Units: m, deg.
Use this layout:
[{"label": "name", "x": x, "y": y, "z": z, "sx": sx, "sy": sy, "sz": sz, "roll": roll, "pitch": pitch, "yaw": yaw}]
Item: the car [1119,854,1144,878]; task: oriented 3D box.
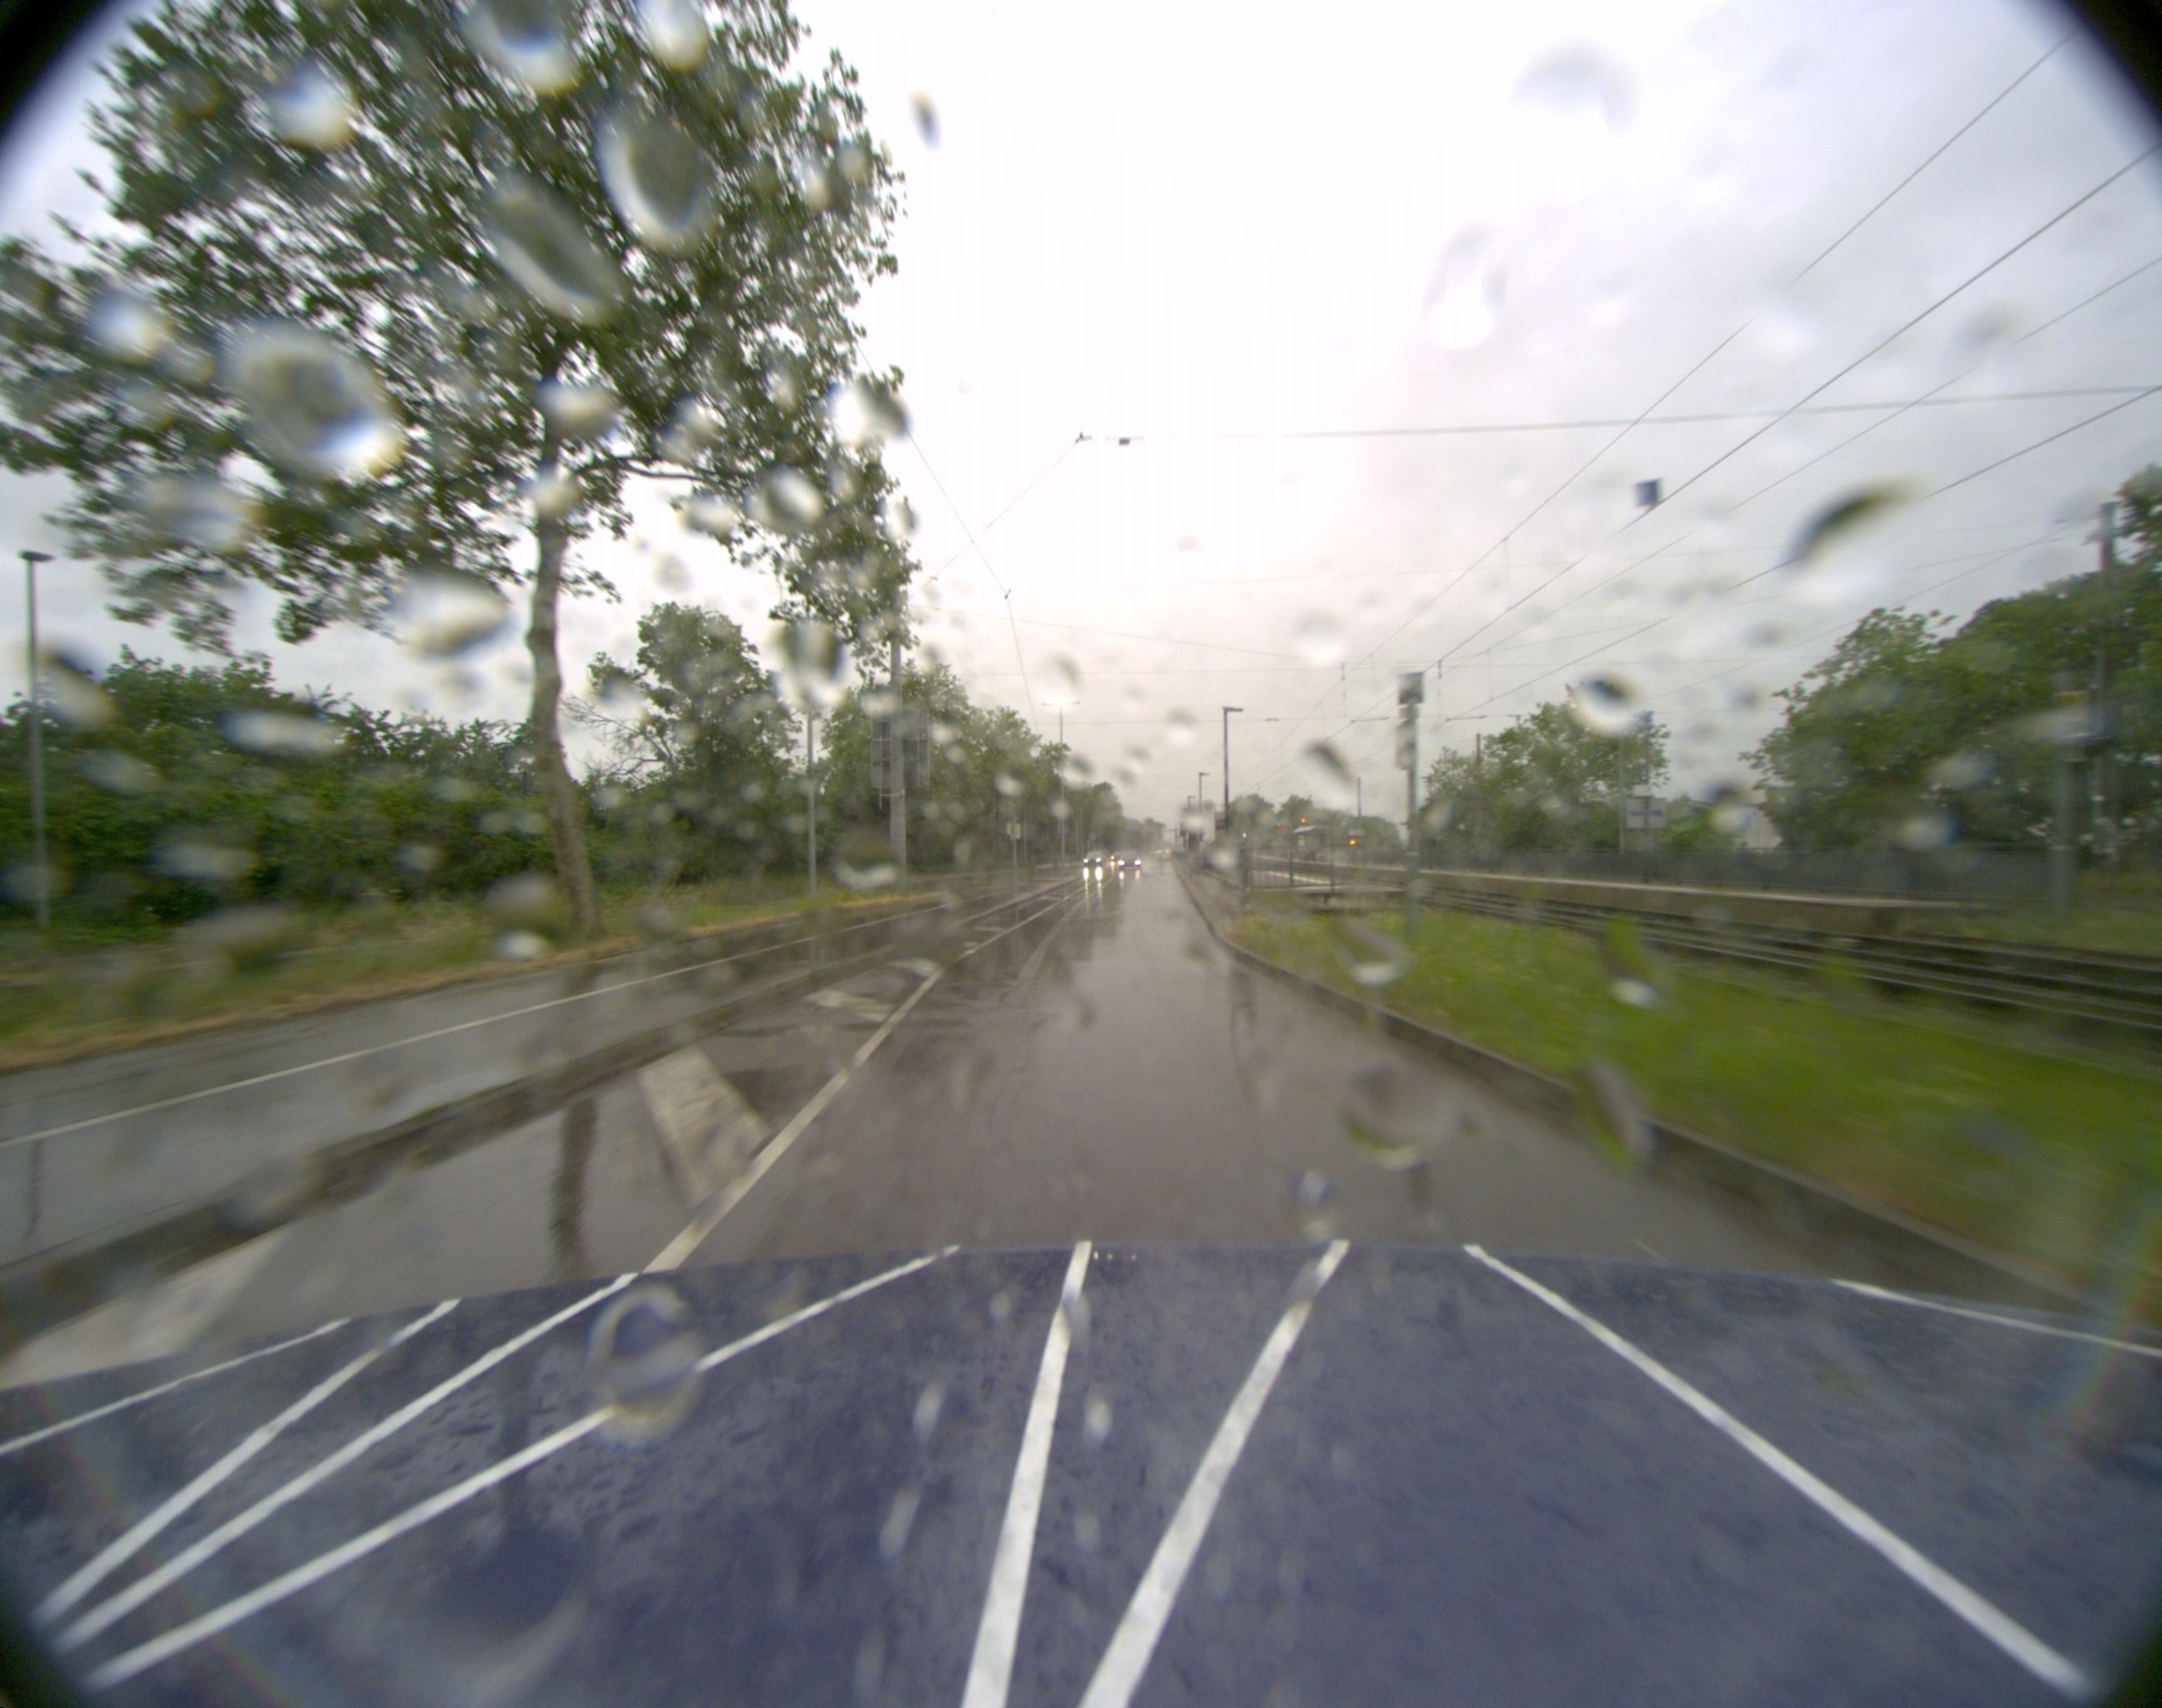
[{"label": "car", "x": 4.601, "y": 1.031, "z": 68.410, "sx": 1.997, "sy": 2.002, "sz": 4.002, "roll": -1, "pitch": 1, "yaw": 7}]

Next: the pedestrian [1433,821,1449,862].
[{"label": "pedestrian", "x": 35.507, "y": -1.237, "z": 74.996, "sx": 1.169, "sy": 4.006, "sz": 1.522, "roll": -1, "pitch": 2, "yaw": 34}]

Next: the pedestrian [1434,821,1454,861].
[{"label": "pedestrian", "x": 37.059, "y": -1.325, "z": 77.639, "sx": 1.172, "sy": 4.006, "sz": 1.518, "roll": -2, "pitch": 2, "yaw": -5}]

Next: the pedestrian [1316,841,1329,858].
[{"label": "pedestrian", "x": 20.002, "y": -0.367, "z": 62.915, "sx": 0.832, "sy": 1.309, "sz": 0.858, "roll": -2, "pitch": 1, "yaw": 7}]
